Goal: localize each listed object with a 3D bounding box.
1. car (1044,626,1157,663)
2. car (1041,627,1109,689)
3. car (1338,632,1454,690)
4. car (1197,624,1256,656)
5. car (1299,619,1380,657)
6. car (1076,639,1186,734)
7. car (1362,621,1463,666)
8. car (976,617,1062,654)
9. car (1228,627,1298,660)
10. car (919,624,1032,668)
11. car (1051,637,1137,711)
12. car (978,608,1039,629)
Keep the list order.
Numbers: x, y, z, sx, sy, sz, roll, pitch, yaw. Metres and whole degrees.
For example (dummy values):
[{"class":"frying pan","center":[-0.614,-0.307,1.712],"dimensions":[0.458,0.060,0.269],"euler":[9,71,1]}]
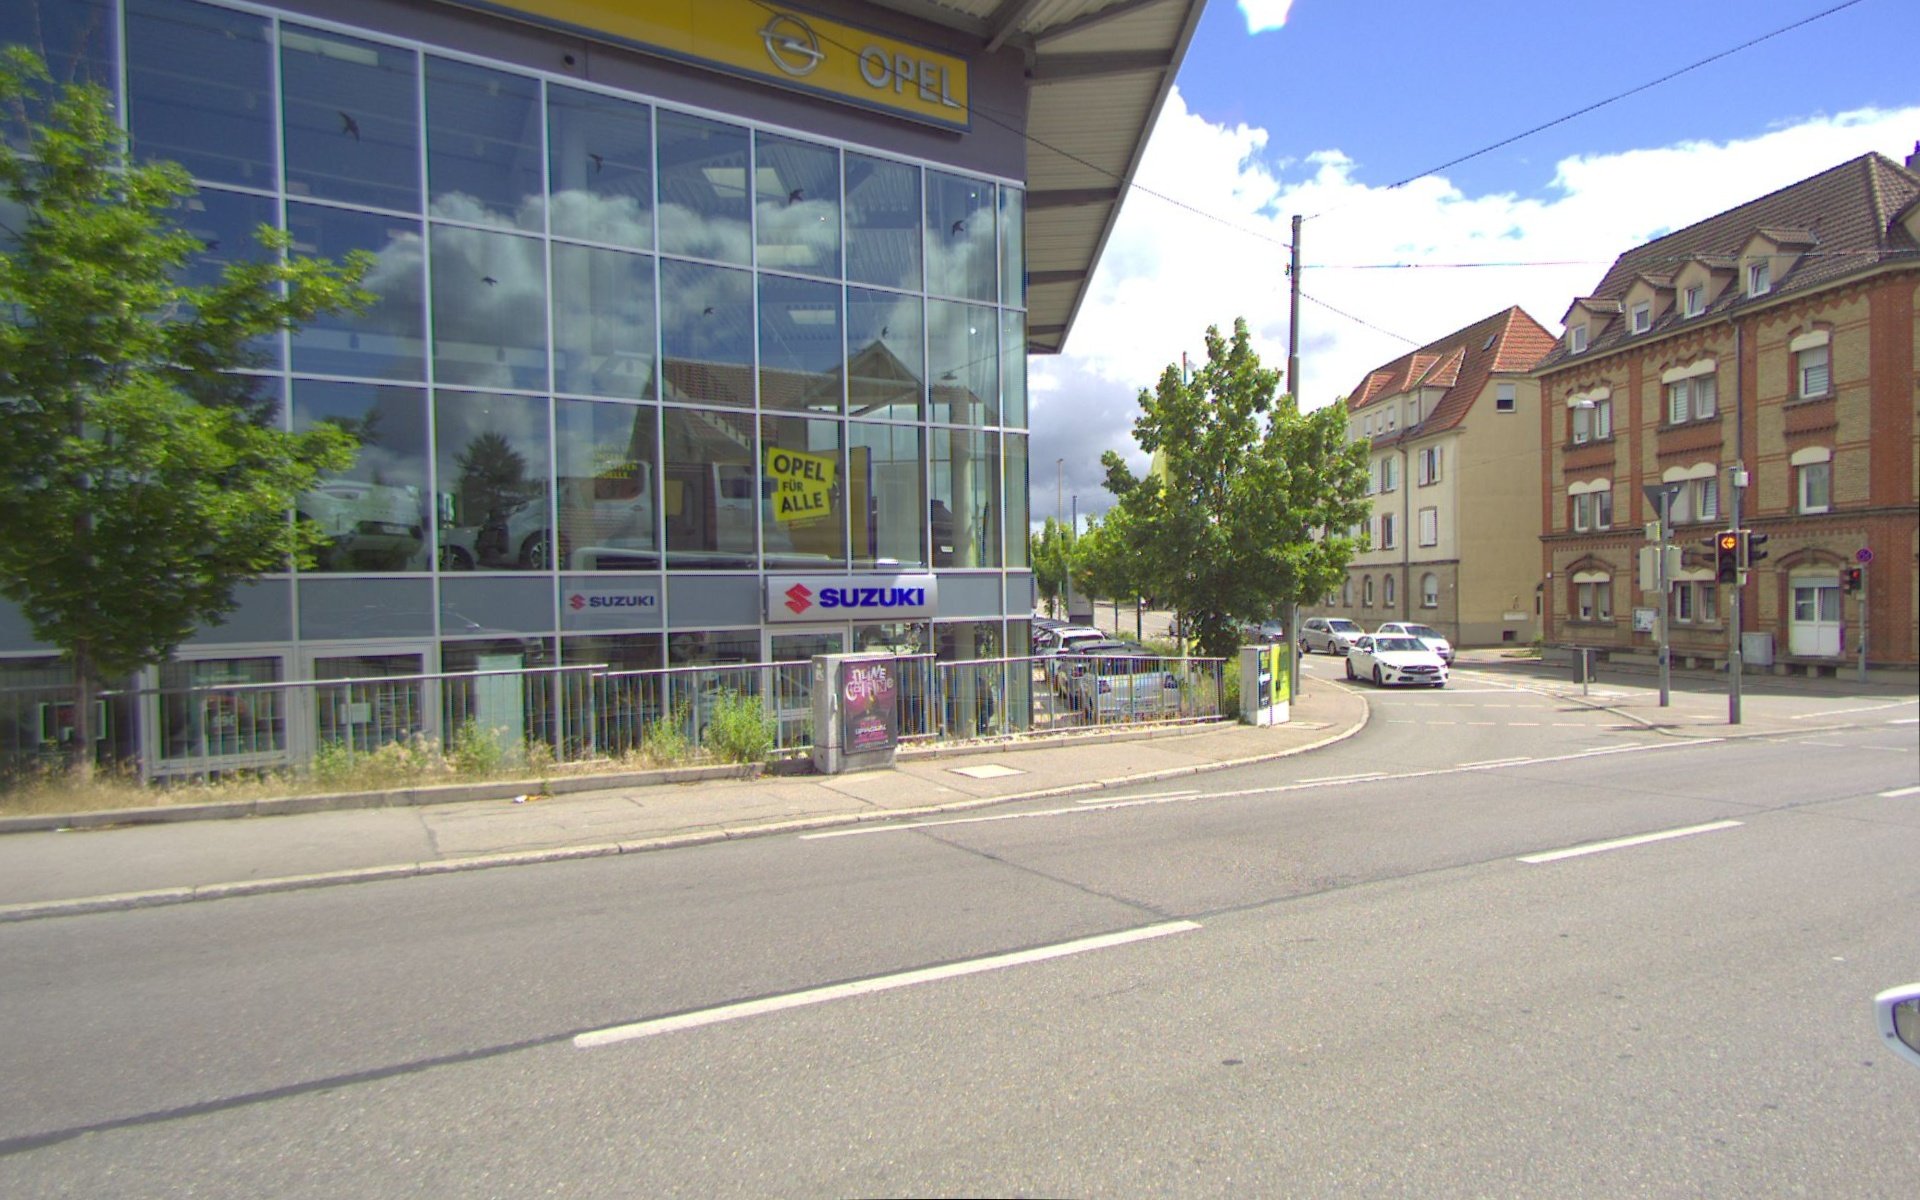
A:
[{"class":"car","center":[5.163,1.634,37.203],"dimensions":[3.921,1.202,1.818],"euler":[1,-1,0]},{"class":"car","center":[3.275,1.634,29.087],"dimensions":[1.487,1.596,3.414],"euler":[1,-1,-2]},{"class":"car","center":[12.364,1.685,28.766],"dimensions":[1.825,1.466,4.394],"euler":[1,-1,6]},{"class":"car","center":[14.835,2.197,56.082],"dimensions":[1.961,1.607,4.345],"euler":[1,0,-2]},{"class":"car","center":[16.735,1.642,44.504],"dimensions":[1.715,1.539,3.996],"euler":[1,-1,-7]},{"class":"car","center":[3.389,1.690,20.544],"dimensions":[1.720,1.596,3.687],"euler":[2,-1,3]},{"class":"car","center":[17.060,1.609,38.079],"dimensions":[1.670,1.517,3.995],"euler":[1,-1,-7]},{"class":"car","center":[2.647,1.586,45.862],"dimensions":[1.974,1.599,4.476],"euler":[1,-1,-26]},{"class":"car","center":[15.333,2.185,51.011],"dimensions":[1.963,1.539,3.996],"euler":[1,-1,-7]},{"class":"car","center":[0.592,1.673,37.203],"dimensions":[3.919,1.478,1.605],"euler":[1,-1,15]},{"class":"car","center":[3.225,1.755,24.693],"dimensions":[1.487,1.543,3.792],"euler":[1,-1,-2]},{"class":"car","center":[3.189,1.233,66.739],"dimensions":[3.921,1.311,1.818],"euler":[1,-1,0]}]
